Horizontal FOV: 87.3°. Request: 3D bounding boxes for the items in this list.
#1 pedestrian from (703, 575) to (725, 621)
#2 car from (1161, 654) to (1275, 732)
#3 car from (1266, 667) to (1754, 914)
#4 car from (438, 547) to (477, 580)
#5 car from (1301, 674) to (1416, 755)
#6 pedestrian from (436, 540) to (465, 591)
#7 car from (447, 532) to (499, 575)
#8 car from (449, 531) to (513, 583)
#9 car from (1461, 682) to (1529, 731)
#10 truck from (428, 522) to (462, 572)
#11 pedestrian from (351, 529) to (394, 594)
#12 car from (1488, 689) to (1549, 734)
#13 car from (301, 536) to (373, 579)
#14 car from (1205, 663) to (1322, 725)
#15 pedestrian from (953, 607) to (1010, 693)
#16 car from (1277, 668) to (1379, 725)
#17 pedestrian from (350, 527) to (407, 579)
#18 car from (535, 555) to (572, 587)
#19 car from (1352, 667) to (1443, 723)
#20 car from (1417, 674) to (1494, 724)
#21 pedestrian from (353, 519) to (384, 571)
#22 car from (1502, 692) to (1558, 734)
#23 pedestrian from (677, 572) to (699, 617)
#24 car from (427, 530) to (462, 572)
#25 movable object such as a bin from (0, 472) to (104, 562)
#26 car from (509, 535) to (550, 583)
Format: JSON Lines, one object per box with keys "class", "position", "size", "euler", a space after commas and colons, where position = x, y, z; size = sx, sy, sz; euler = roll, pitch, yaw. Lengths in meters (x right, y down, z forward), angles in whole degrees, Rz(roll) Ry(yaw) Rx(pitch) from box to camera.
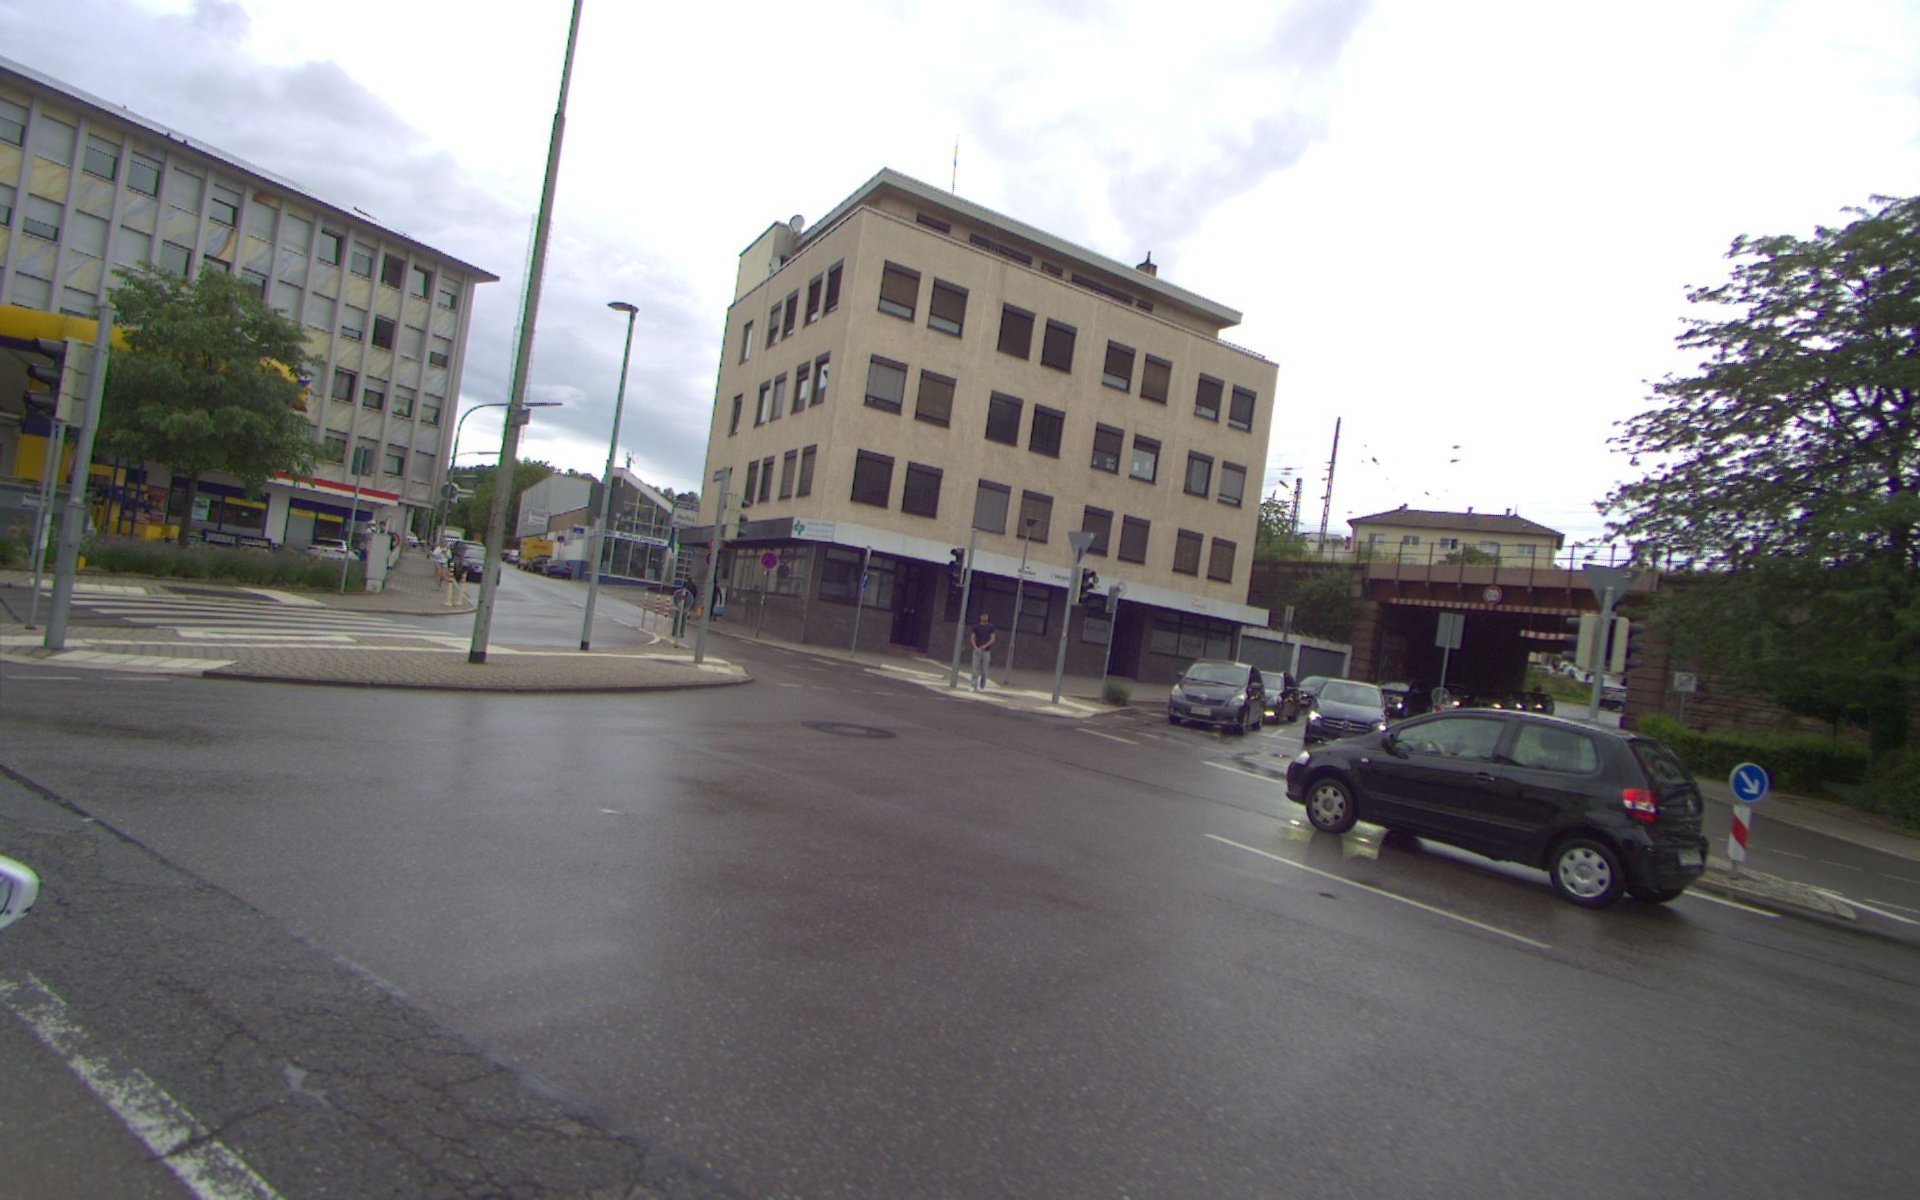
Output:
{"class": "pedestrian", "position": [-9.982, -0.084, 40.770], "size": [0.475, 1.761, 0.571], "euler": [10, -3, -29]}
{"class": "car", "position": [6.368, 2.206, 24.493], "size": [1.963, 1.462, 4.484], "euler": [7, -1, 22]}
{"class": "car", "position": [5.156, 1.734, 9.862], "size": [1.667, 1.508, 3.708], "euler": [12, -3, -36]}
{"class": "car", "position": [-35.966, -2.572, 71.988], "size": [1.981, 1.884, 4.547], "euler": [10, -4, -30]}
{"class": "car", "position": [9.553, 2.636, 23.911], "size": [1.965, 1.462, 4.480], "euler": [7, -1, 27]}
{"class": "pedestrian", "position": [-16.464, -1.116, 32.495], "size": [0.472, 1.531, 0.574], "euler": [9, -3, -9]}
{"class": "car", "position": [-26.555, -2.504, 54.812], "size": [1.981, 1.884, 4.547], "euler": [10, -4, -30]}
{"class": "car", "position": [-21.306, -1.855, 44.660], "size": [1.981, 1.884, 4.547], "euler": [10, -4, -30]}
{"class": "car", "position": [28.138, 5.615, 52.857], "size": [1.974, 2.035, 3.985], "euler": [5, -5, 44]}
{"class": "truck", "position": [-46.517, -4.728, 90.796], "size": [1.980, 3.955, 5.446], "euler": [10, -4, -30]}
{"class": "pedestrian", "position": [-24.922, -1.647, 42.656], "size": [1.004, 2.594, 1.134], "euler": [11, -4, -44]}
{"class": "car", "position": [31.884, 6.376, 57.416], "size": [1.974, 2.035, 3.985], "euler": [5, -5, 44]}
{"class": "car", "position": [-29.141, -1.951, 47.200], "size": [1.973, 1.533, 4.400], "euler": [7, -3, -22]}
{"class": "car", "position": [9.184, 2.817, 30.232], "size": [1.968, 1.462, 4.473], "euler": [7, -1, 35]}
{"class": "pedestrian", "position": [0.488, 1.137, 22.789], "size": [0.761, 1.810, 0.859], "euler": [7, -3, 27]}
{"class": "car", "position": [14.093, 3.701, 38.457], "size": [3.981, 1.601, 1.976], "euler": [12, -5, -43]}
{"class": "pedestrian", "position": [-18.058, -1.454, 31.288], "size": [1.095, 1.367, 0.917], "euler": [9, -3, -10]}
{"class": "car", "position": [-31.177, -2.166, 77.107], "size": [1.979, 2.035, 3.975], "euler": [10, -4, -28]}
{"class": "car", "position": [18.622, 4.059, 42.774], "size": [4.144, 1.801, 1.976], "euler": [12, -5, -43]}
{"class": "car", "position": [23.914, 4.777, 48.485], "size": [3.981, 1.801, 1.976], "euler": [12, -5, -43]}
{"class": "pedestrian", "position": [-21.719, -2.007, 36.935], "size": [0.674, 1.776, 0.725], "euler": [10, -3, -36]}
{"class": "car", "position": [35.252, 6.979, 62.160], "size": [1.974, 2.035, 3.985], "euler": [5, -5, 44]}
{"class": "pedestrian", "position": [-11.019, -0.231, 40.754], "size": [0.475, 1.761, 0.571], "euler": [10, -3, -29]}
{"class": "car", "position": [-43.160, -4.062, 84.175], "size": [1.980, 3.005, 4.547], "euler": [10, -4, -30]}
{"class": "movable object such as a bin", "position": [-19.212, -1.745, 20.496], "size": [1.744, 1.574, 2.159], "euler": [6, -1, 31]}
{"class": "car", "position": [-38.201, -3.579, 89.218], "size": [2.360, 3.727, 4.960], "euler": [10, -4, -29]}
